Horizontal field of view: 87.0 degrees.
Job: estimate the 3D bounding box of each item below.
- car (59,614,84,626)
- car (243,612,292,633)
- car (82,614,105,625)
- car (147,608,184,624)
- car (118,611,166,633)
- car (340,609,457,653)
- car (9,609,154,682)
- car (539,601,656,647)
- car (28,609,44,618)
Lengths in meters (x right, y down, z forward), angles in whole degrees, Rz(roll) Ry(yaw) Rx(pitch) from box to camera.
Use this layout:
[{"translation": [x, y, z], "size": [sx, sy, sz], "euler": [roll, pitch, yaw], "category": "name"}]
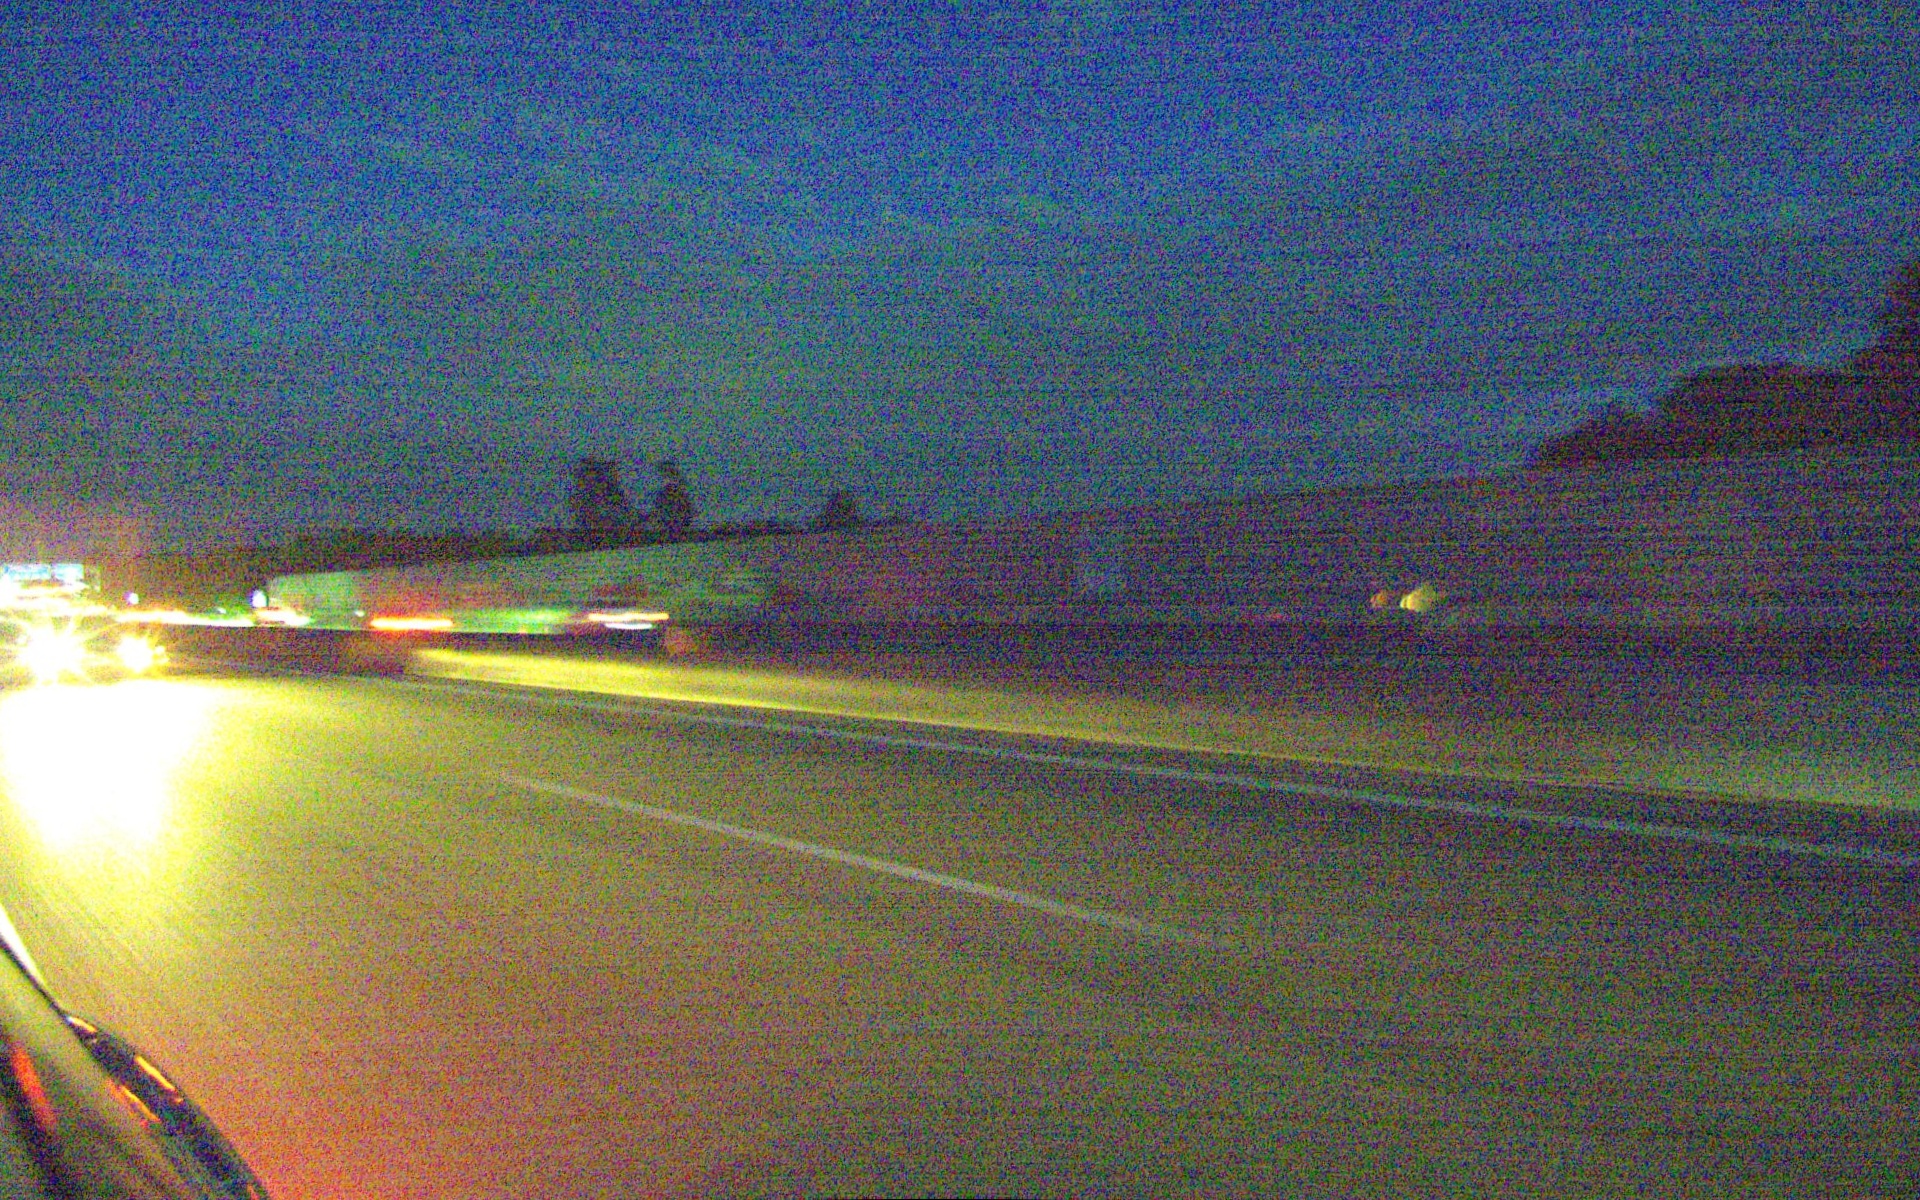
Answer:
[{"translation": [-124.401, 2.817, 141.669], "size": [5.108, 1.567, 2.096], "euler": [-1, 0, 42], "category": "car"}, {"translation": [-55.041, 1.760, 80.351], "size": [5.108, 1.567, 2.096], "euler": [-1, 0, 42], "category": "car"}, {"translation": [-133.082, 2.971, 155.366], "size": [5.109, 1.567, 2.096], "euler": [-1, 0, 43], "category": "car"}, {"translation": [-82.309, 1.642, 104.804], "size": [5.242, 1.492, 2.160], "euler": [-1, 0, 43], "category": "car"}, {"translation": [-61.807, 1.631, 76.457], "size": [5.108, 1.567, 2.096], "euler": [-1, 0, 42], "category": "car"}, {"translation": [-22.192, 1.171, 39.935], "size": [5.108, 1.567, 2.532], "euler": [-1, 0, 42], "category": "car"}, {"translation": [-21.216, 1.113, 24.337], "size": [5.649, 1.530, 1.972], "euler": [-4, -2, 42], "category": "car"}, {"translation": [-15.212, 0.973, 42.277], "size": [5.940, 1.795, 2.031], "euler": [-1, 0, 42], "category": "car"}, {"translation": [-171.316, 2.532, 187.586], "size": [2.093, 1.710, 5.114], "euler": [-1, 0, -43], "category": "car"}]
